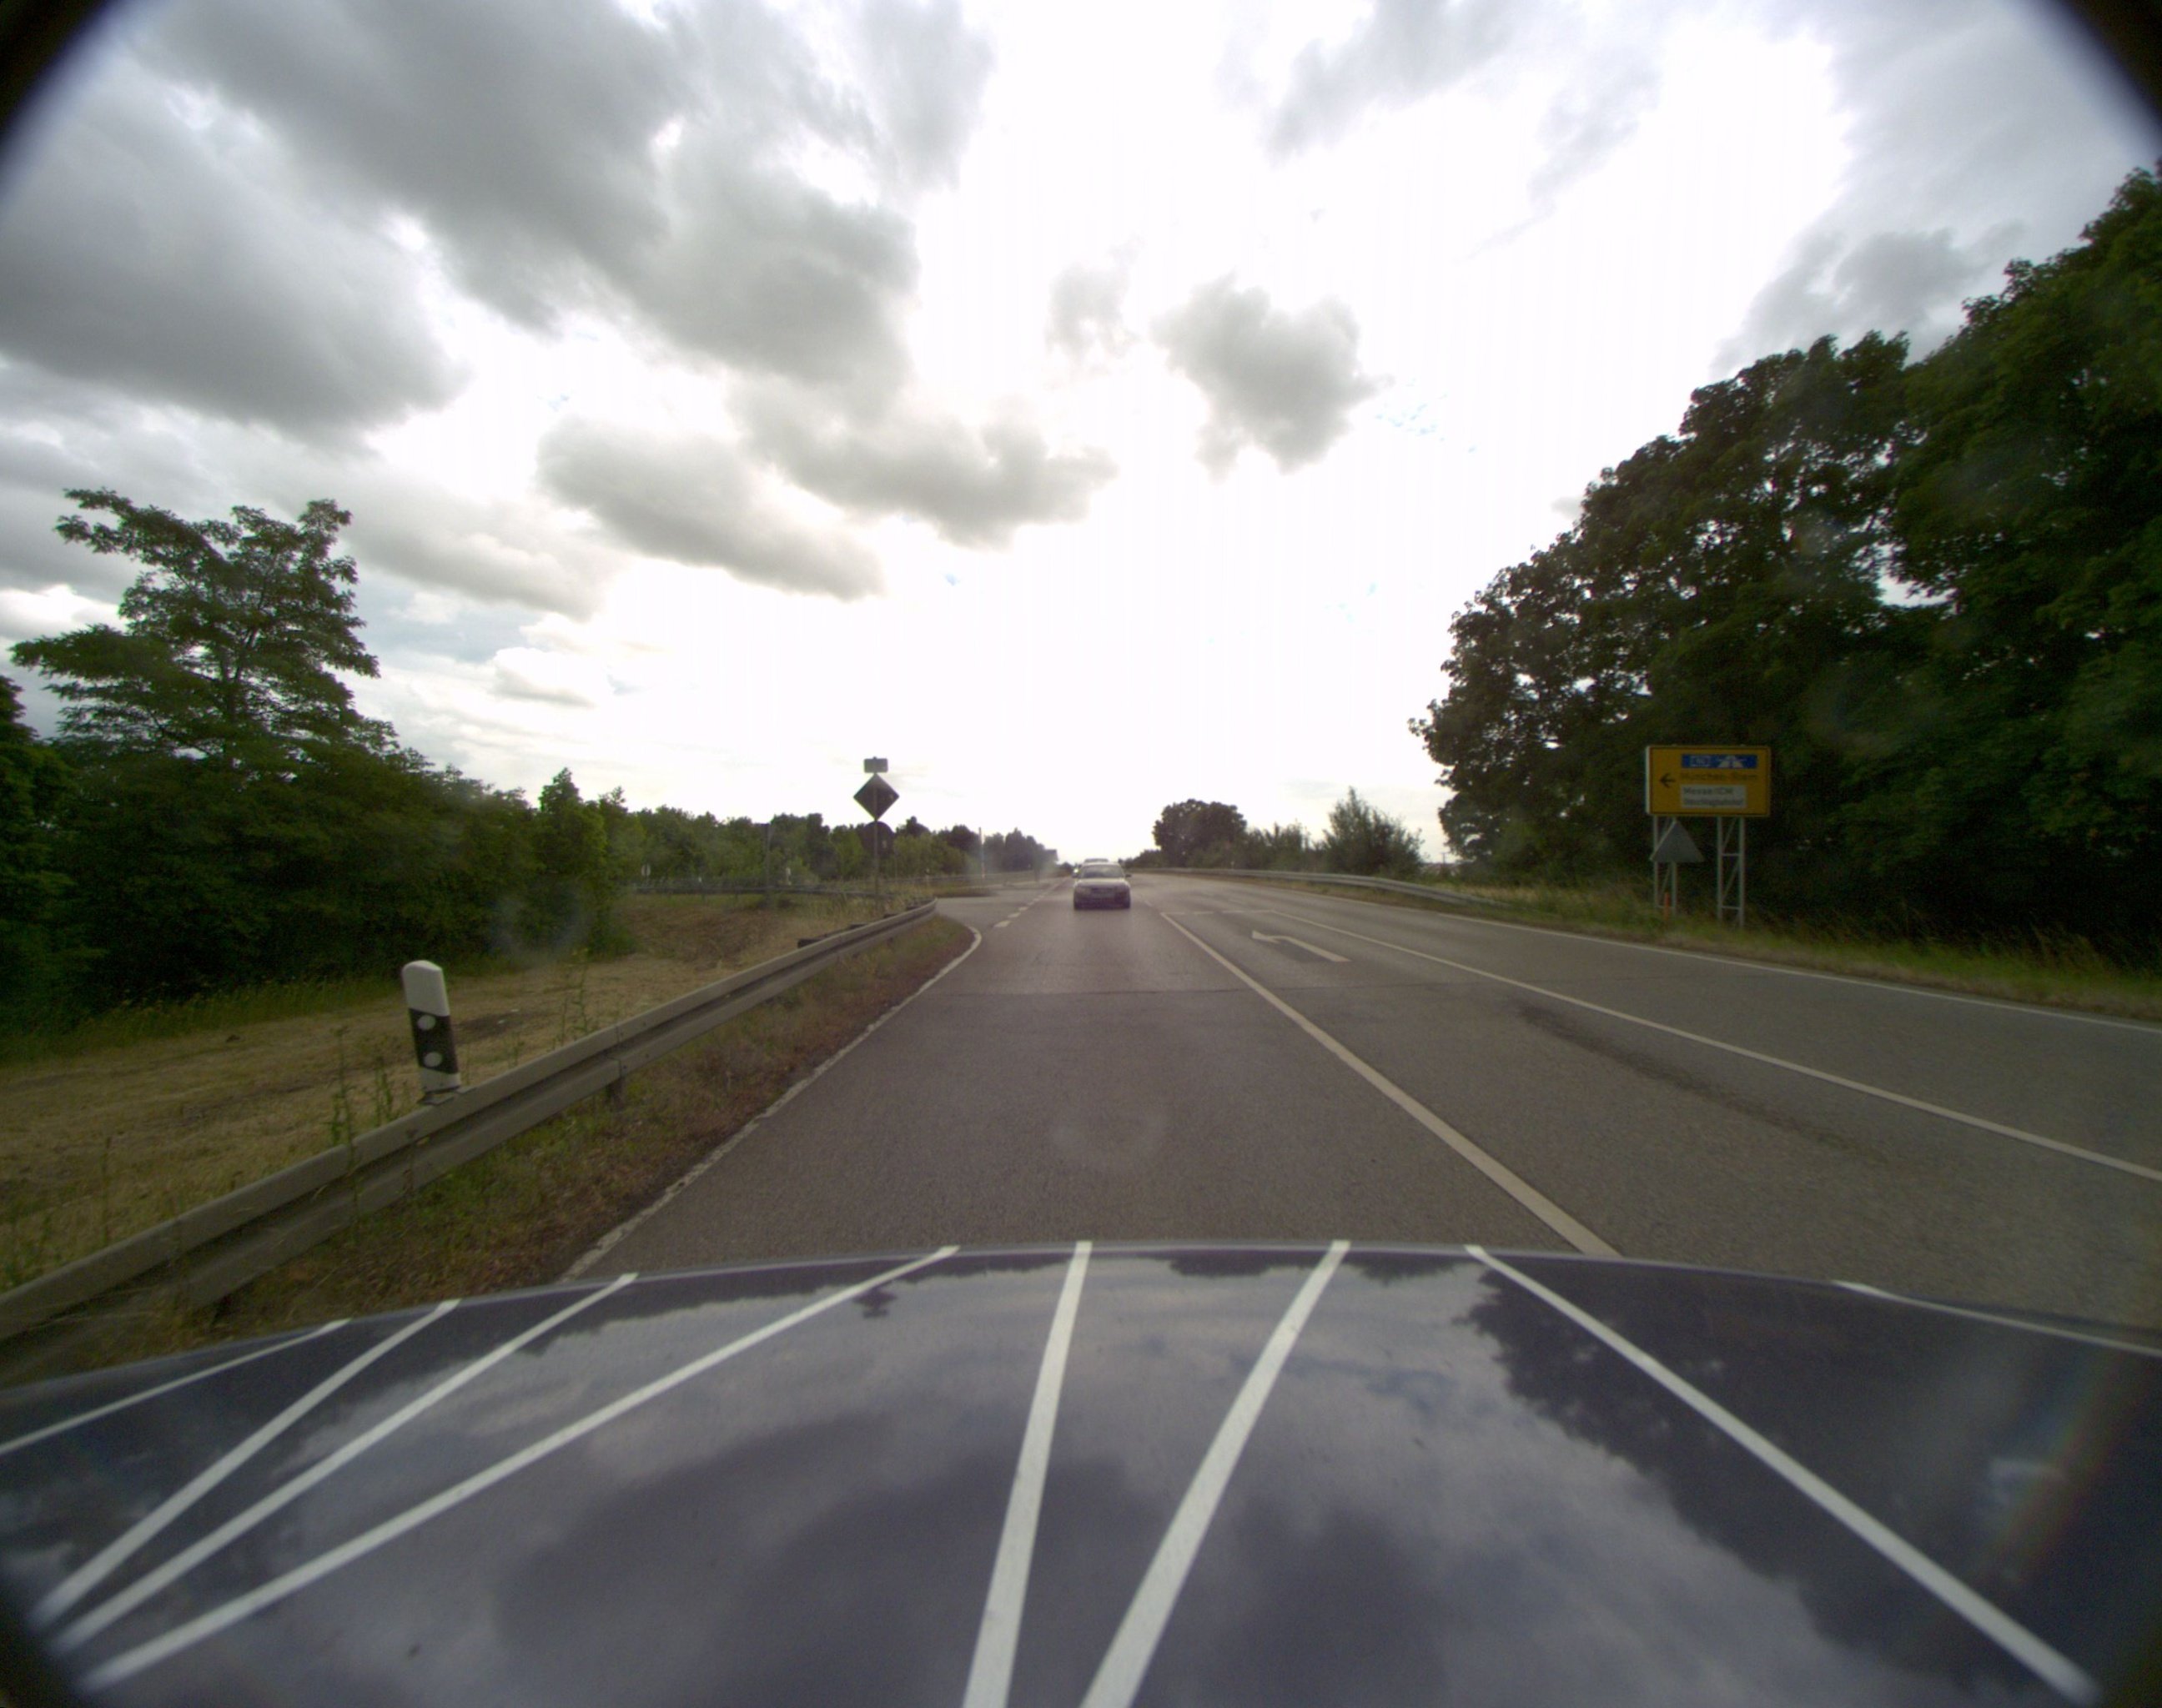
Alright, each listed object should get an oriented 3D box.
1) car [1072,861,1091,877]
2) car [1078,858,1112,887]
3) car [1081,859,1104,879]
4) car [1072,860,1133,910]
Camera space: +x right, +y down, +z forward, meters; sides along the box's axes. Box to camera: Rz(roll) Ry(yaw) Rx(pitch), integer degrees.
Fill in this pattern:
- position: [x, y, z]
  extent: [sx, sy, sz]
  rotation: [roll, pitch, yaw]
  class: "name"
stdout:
- position: [0.068, 1.520, 78.095]
  extent: [1.835, 1.537, 4.035]
  rotation: [-1, -1, 0]
  class: "car"
- position: [0.782, 1.035, 43.624]
  extent: [1.835, 1.537, 4.035]
  rotation: [-1, -1, 0]
  class: "car"
- position: [0.903, 1.172, 61.423]
  extent: [1.835, 1.537, 4.035]
  rotation: [-1, -1, 0]
  class: "car"
- position: [0.659, 0.955, 24.636]
  extent: [1.784, 1.441, 4.035]
  rotation: [-1, -1, 0]
  class: "car"
